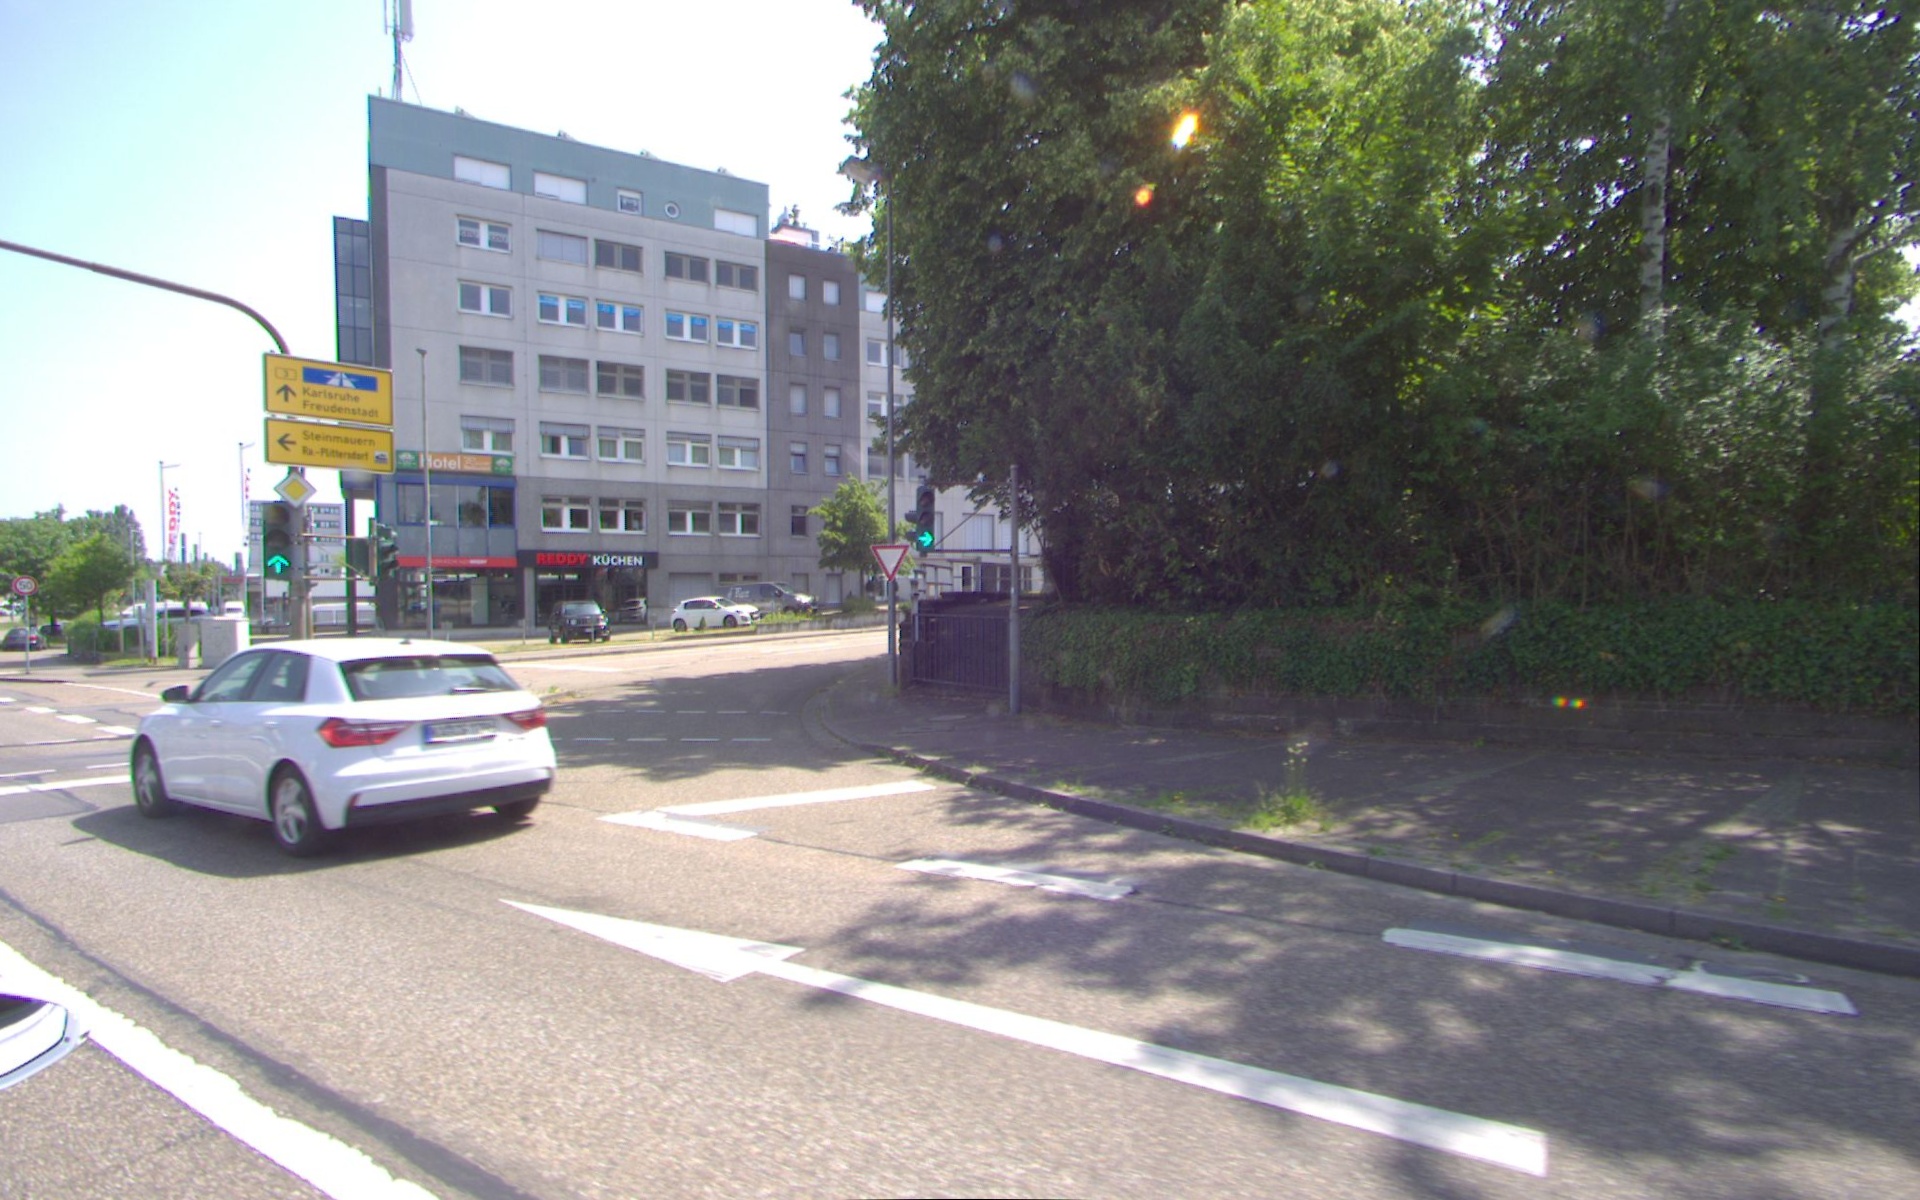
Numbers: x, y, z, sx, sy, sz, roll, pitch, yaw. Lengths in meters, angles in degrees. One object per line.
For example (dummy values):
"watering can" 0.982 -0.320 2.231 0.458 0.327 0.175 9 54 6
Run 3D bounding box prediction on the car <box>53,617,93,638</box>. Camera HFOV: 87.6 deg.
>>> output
"car" -76.447 2.324 86.387 1.941 1.551 5.124 -3 2 -35

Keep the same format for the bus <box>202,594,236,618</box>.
"bus" -105.261 0.838 142.400 2.775 3.120 12.209 0 1 -31

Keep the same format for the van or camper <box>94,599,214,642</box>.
"van or camper" -59.246 1.455 73.820 6.733 2.937 2.258 -1 1 -36

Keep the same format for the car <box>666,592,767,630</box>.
"car" -10.846 0.514 44.634 4.148 1.552 1.543 -1 -2 15

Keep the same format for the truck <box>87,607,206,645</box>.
"truck" -56.762 1.751 70.047 6.183 2.369 2.352 -2 2 -34

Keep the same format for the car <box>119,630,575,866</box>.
"car" -4.889 0.956 7.852 3.741 1.417 1.663 -1 -1 34

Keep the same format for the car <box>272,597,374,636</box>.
"car" -43.456 1.170 68.446 5.826 2.560 2.108 1 -2 -33

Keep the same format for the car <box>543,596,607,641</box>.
"car" -15.333 0.733 39.799 1.523 1.697 4.303 0 -1 -33

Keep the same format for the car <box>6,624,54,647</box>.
"car" -58.673 2.228 63.230 1.782 1.424 4.288 1 -1 -37

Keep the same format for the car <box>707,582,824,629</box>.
"car" -9.091 0.284 46.893 5.097 2.062 1.890 0 -2 16

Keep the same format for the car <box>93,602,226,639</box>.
"car" -39.226 1.050 49.199 1.970 1.735 4.721 -1 -2 29
